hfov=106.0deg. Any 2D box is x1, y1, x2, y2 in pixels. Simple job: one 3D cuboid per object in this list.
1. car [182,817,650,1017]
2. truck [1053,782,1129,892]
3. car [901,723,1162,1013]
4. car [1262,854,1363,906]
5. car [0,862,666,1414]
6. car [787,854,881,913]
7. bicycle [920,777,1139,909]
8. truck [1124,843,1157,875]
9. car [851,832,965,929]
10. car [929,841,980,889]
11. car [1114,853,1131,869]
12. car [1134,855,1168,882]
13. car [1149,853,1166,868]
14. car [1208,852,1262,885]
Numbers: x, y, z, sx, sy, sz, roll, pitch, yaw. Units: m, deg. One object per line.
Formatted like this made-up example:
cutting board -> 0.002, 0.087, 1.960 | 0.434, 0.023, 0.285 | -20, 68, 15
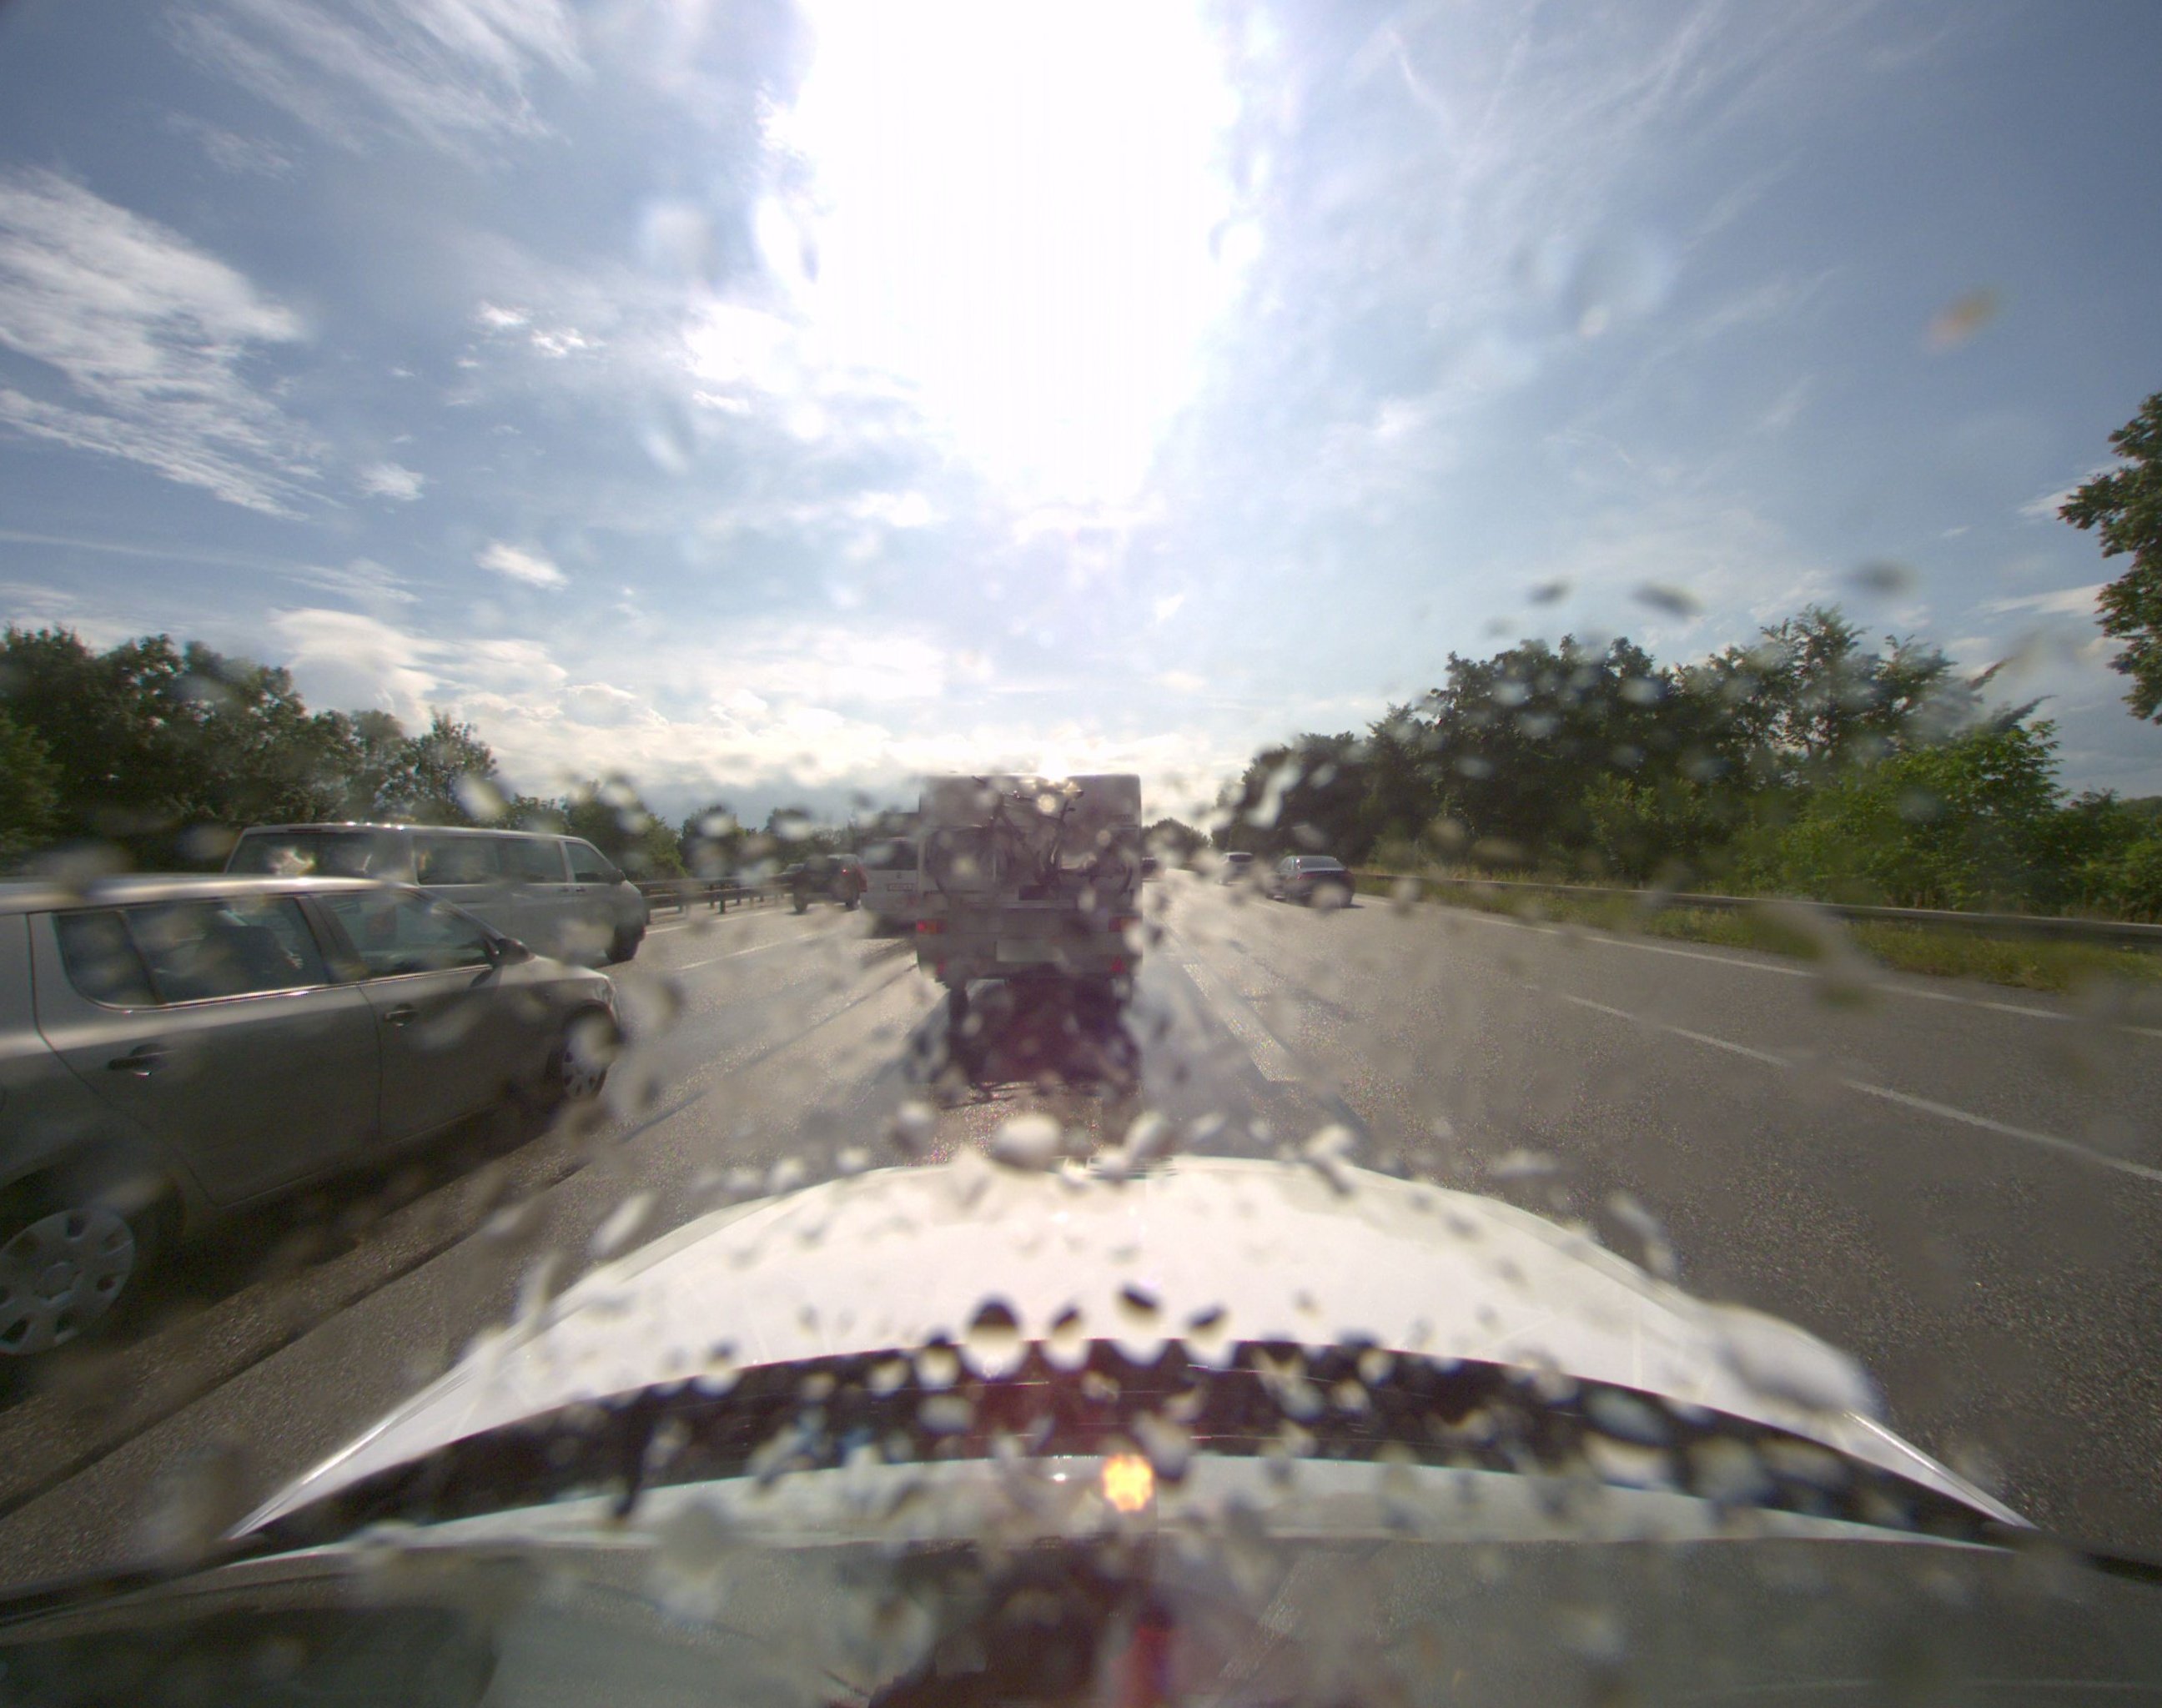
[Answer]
car -> -7.840, 0.620, 10.480 | 1.841, 1.934, 5.016 | -1, 0, 0
truck -> 0.424, -0.701, 39.722 | 3.136, 4.626, 10.734 | -1, 0, 0
car -> -0.397, 0.146, 9.554 | 2.401, 2.674, 4.001 | 0, -1, 2
car -> 7.171, 0.779, 25.616 | 1.872, 1.494, 3.996 | 0, -1, -3
car -> -3.863, 0.795, 3.608 | 1.980, 1.458, 3.828 | -1, 0, 2
car -> -7.555, 0.859, 25.297 | 1.767, 1.662, 3.997 | 0, -1, -1
bicycle -> -0.448, -0.093, 7.354 | 1.926, 1.141, 0.384 | 0, -1, 1
truck -> 4.876, 0.407, 67.443 | 2.406, 2.444, 6.055 | -1, 0, 2
car -> -3.891, 0.569, 19.010 | 1.871, 2.014, 3.997 | 0, -1, -1
car -> -5.578, 0.452, 36.192 | 1.574, 2.013, 3.616 | -1, 0, 2
car -> 4.443, 0.749, 87.968 | 1.713, 1.684, 4.002 | -1, 0, 2
car -> 4.220, 0.846, 49.728 | 1.828, 1.558, 4.001 | 0, -1, 2
car -> 8.855, 0.729, 95.069 | 1.713, 1.684, 4.002 | -1, 0, 2
car -> 7.845, 0.736, 41.867 | 1.872, 1.629, 3.996 | 0, -1, -3
